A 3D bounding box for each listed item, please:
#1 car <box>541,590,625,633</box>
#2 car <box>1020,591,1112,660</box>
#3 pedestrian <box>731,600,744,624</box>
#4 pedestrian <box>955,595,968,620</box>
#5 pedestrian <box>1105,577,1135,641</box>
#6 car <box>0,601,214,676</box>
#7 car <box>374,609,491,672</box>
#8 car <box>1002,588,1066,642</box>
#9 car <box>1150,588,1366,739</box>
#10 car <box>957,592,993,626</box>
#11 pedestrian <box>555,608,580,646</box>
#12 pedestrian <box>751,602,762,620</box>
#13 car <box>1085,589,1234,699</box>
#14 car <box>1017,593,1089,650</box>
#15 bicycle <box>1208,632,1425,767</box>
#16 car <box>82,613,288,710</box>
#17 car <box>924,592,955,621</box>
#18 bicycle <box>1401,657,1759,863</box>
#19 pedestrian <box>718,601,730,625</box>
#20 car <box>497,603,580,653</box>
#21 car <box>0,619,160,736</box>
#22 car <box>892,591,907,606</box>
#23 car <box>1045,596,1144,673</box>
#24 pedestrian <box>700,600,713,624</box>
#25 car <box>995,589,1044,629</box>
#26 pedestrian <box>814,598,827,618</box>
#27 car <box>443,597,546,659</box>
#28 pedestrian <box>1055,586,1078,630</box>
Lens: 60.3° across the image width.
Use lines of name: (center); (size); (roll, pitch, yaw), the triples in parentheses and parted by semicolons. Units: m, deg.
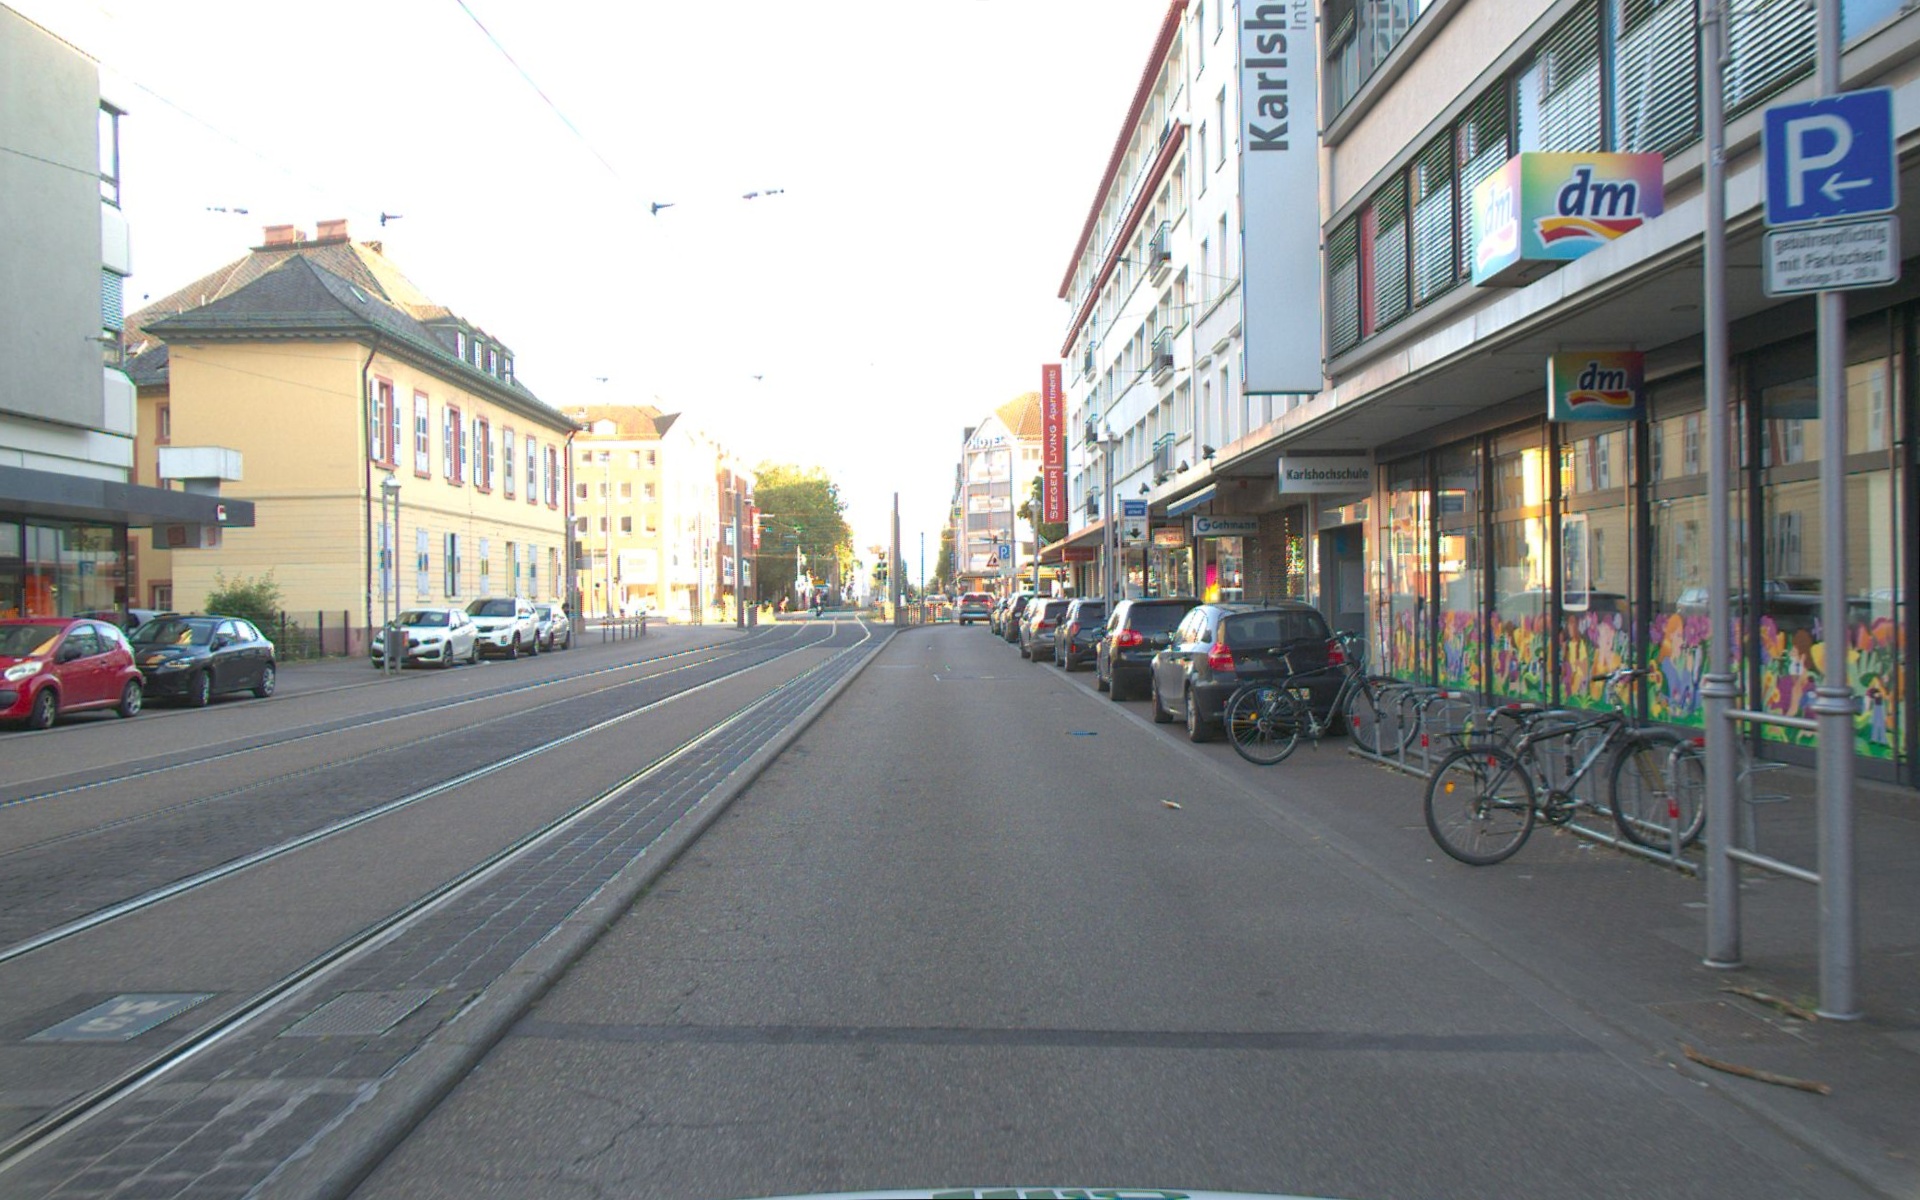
car: (-18.812, 0.551, 82.395); (3.924, 2.049, 1.990); (-1, 0, -18)
car: (2.539, 0.610, 40.597); (1.755, 1.560, 4.855); (1, 0, -2)
pedestrian: (-12.842, 0.702, 95.477); (0.650, 1.399, 0.651); (-1, 0, -4)
pedestrian: (0.095, 0.499, 116.047); (0.856, 1.735, 0.701); (1, -1, 2)
pedestrian: (4.862, 0.271, 50.328); (0.759, 1.913, 0.934); (-1, -1, -3)
car: (-19.249, 0.857, 37.362); (3.907, 1.580, 1.913); (1, -1, -3)
car: (-13.409, 0.989, 42.269); (1.686, 1.478, 4.282); (1, 0, -2)
car: (2.448, 0.500, 55.508); (1.818, 1.730, 4.416); (1, 0, -1)
car: (3.204, 0.648, 18.493); (1.621, 1.488, 4.021); (1, 0, -1)
car: (0.774, 0.501, 86.835); (1.798, 1.665, 4.090); (-2, -1, 0)
pedestrian: (-16.117, 1.101, 67.922); (0.783, 1.569, 0.877); (1, -1, 1)
pedestrian: (-22.568, 1.205, 183.182); (1.071, 2.049, 1.162); (1, -1, -4)
car: (2.989, 0.642, 25.474); (1.729, 1.540, 4.071); (1, 0, -1)
car: (2.618, 0.579, 47.483); (1.745, 1.549, 4.356); (1, 0, -1)
bicycle: (3.231, 0.893, 15.069); (1.803, 1.129, 0.641); (-2, 0, -4)
car: (-13.032, 0.982, 28.082); (1.657, 1.450, 3.964); (1, 0, -1)
car: (-1.376, 0.456, 110.509); (1.954, 1.623, 3.999); (-5, -2, -1)
bicycle: (3.450, 0.873, 9.269); (1.759, 0.989, 0.575); (-3, 0, -4)
pedestrian: (-13.580, 0.749, 95.189); (0.650, 1.399, 0.651); (0, 0, -4)
car: (-13.635, 0.879, 53.667); (1.713, 1.500, 3.999); (1, 0, -1)
car: (-12.898, 1.025, 23.189); (1.657, 1.459, 3.591); (-1, 0, -1)
car: (-8.276, -0.224, 227.702); (1.915, 2.049, 3.999); (1, 0, -1)
car: (2.787, 0.696, 34.998); (1.691, 1.507, 3.999); (1, 0, -1)
pedestrian: (-14.520, 0.681, 94.880); (0.650, 1.399, 0.651); (-1, 0, -4)
car: (2.206, 0.355, 62.554); (1.617, 1.445, 4.190); (1, 0, -1)
pedestrian: (-9.930, 0.535, 117.418); (0.885, 1.399, 0.853); (-1, 0, -4)
car: (-13.451, 0.777, 48.061); (1.849, 1.690, 4.758); (1, 0, -3)
pedestrian: (3.921, 0.304, 60.868); (0.718, 1.601, 0.966); (-1, 0, -2)
